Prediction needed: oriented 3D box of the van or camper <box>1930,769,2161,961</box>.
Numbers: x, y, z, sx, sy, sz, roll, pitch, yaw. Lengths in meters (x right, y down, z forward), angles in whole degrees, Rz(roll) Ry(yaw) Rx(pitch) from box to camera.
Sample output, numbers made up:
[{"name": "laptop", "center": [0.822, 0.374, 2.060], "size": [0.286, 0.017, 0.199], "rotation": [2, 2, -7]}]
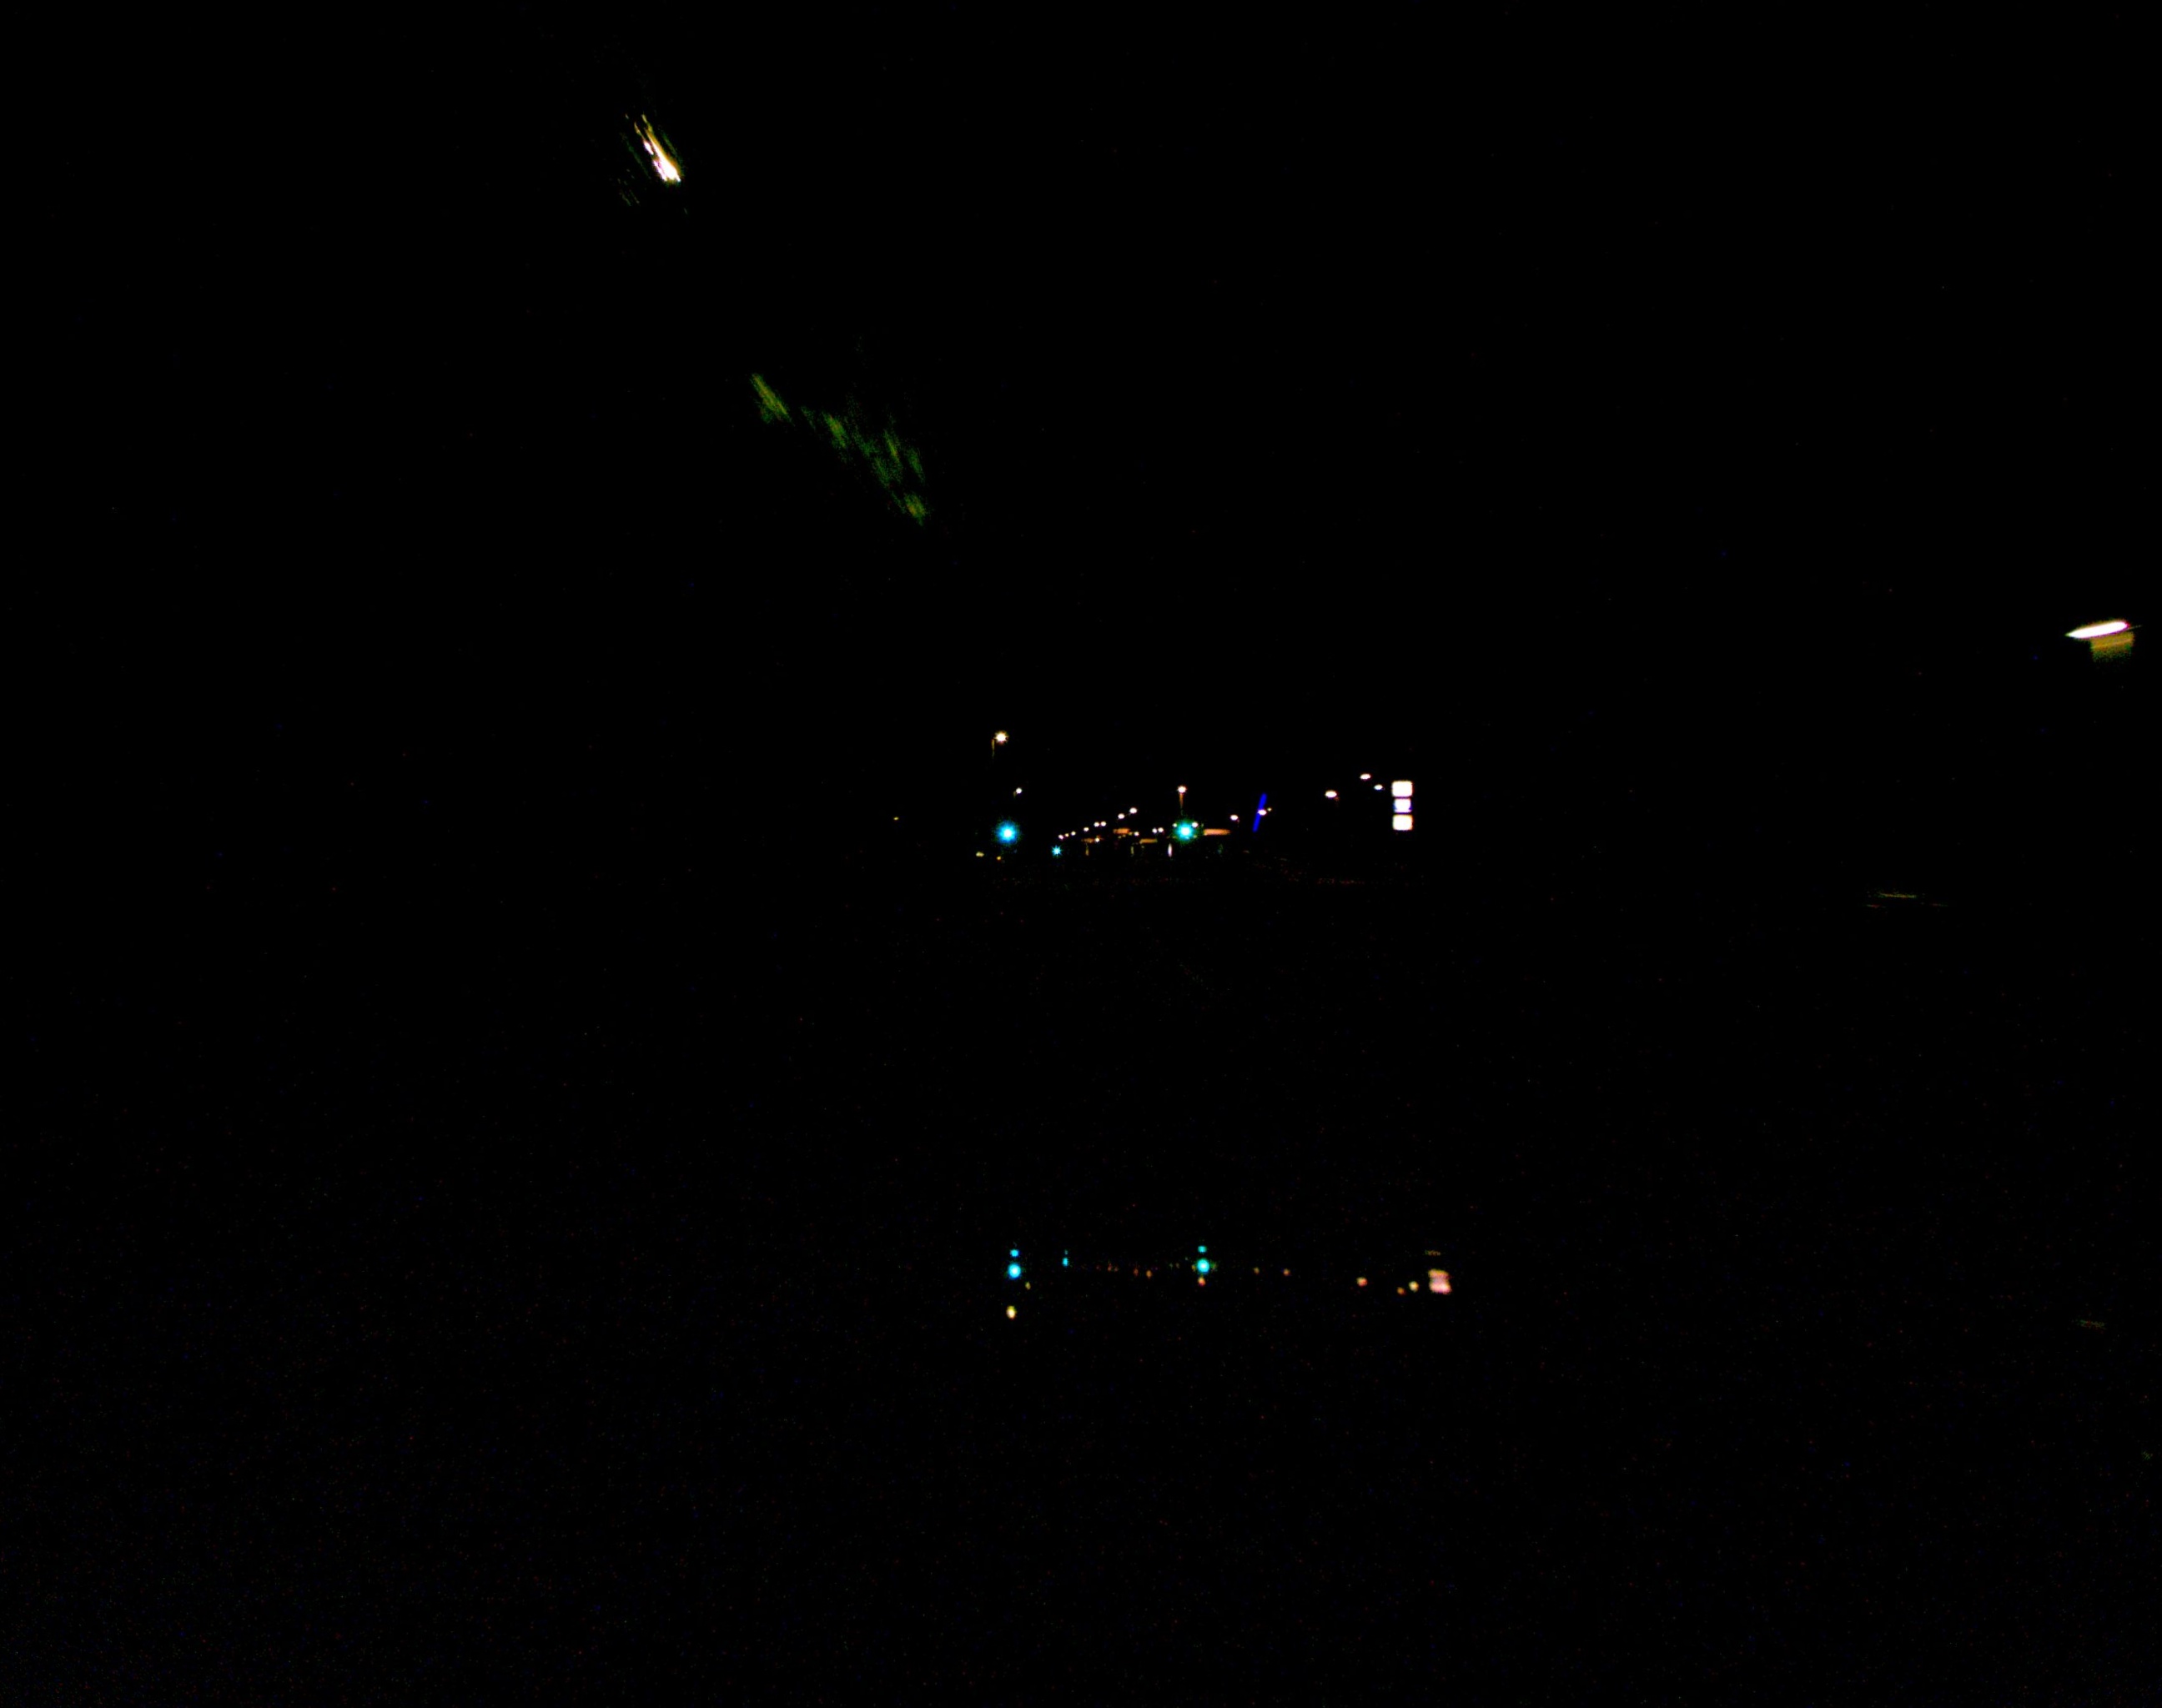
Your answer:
[{"name": "van or camper", "center": [15.974, 0.182, 10.328], "size": [2.279, 2.632, 5.662], "rotation": [2, 0, -3]}]

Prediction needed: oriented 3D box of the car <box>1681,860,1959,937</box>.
[{"name": "car", "center": [15.926, 0.860, 16.804], "size": [1.650, 1.332, 4.543], "rotation": [4, 0, 0]}]

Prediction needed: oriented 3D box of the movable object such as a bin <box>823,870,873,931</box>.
[{"name": "movable object such as a bin", "center": [-4.734, 0.925, 15.490], "size": [0.725, 1.194, 0.720], "rotation": [0, 0, 8]}]

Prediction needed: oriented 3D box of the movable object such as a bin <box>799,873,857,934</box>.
[{"name": "movable object such as a bin", "center": [-4.868, 0.943, 14.651], "size": [0.724, 1.115, 0.894], "rotation": [0, 0, 8]}]
